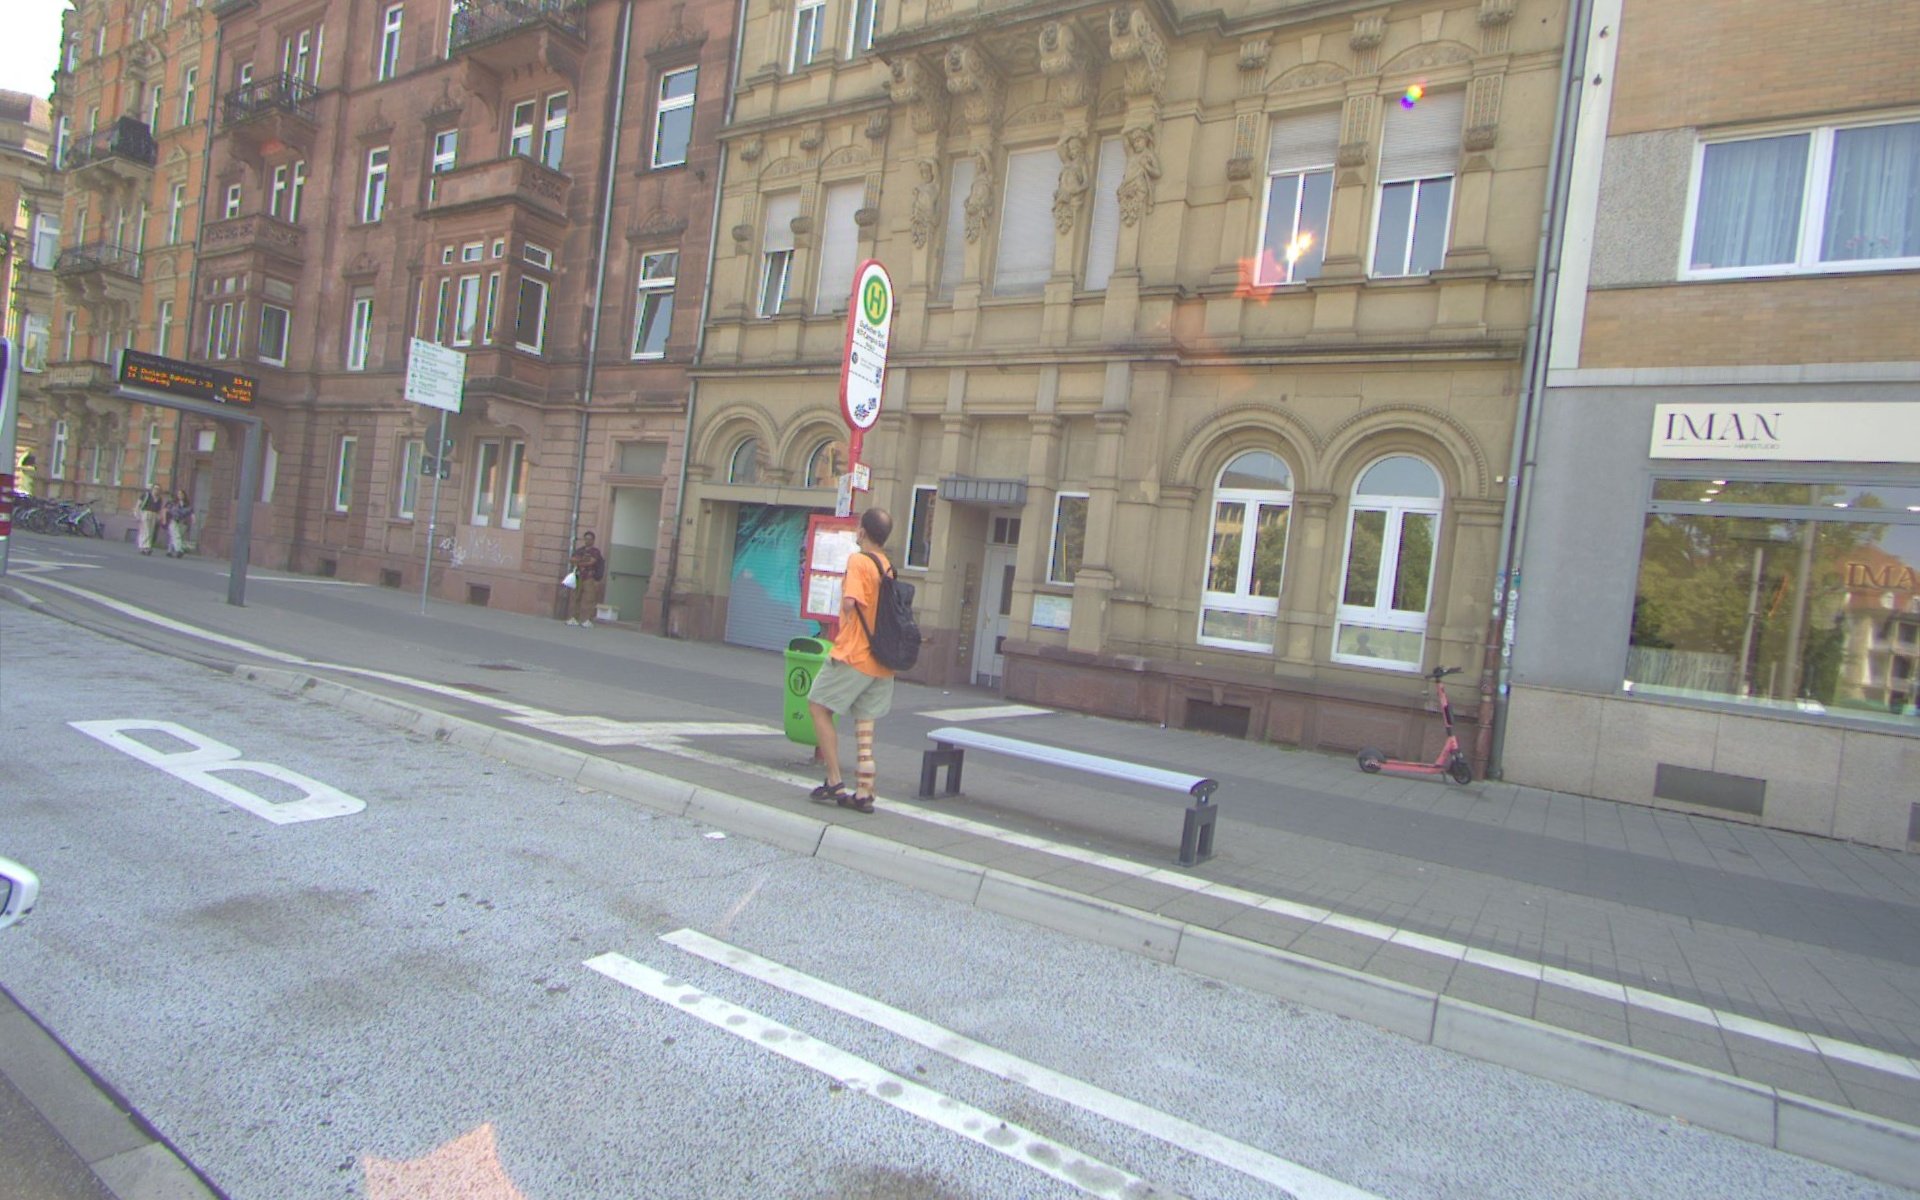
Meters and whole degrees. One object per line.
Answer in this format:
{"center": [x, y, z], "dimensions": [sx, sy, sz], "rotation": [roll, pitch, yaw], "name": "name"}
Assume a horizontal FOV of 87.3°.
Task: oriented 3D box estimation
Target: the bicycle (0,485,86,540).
{"center": [-28.656, -2.725, 30.545], "dimensions": [0.857, 1.388, 2.997], "rotation": [7, 0, 31], "name": "bicycle"}

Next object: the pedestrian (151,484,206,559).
{"center": [-20.187, -2.025, 25.980], "dimensions": [0.856, 1.800, 0.715], "rotation": [7, 1, 30], "name": "pedestrian"}

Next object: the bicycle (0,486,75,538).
{"center": [-29.431, -2.803, 31.057], "dimensions": [0.857, 1.388, 2.997], "rotation": [7, 0, 31], "name": "bicycle"}

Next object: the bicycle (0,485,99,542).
{"center": [-27.879, -2.632, 30.105], "dimensions": [0.857, 1.388, 2.997], "rotation": [7, 0, 31], "name": "bicycle"}

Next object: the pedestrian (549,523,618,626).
{"center": [-7.033, -0.455, 18.816], "dimensions": [0.729, 1.800, 0.870], "rotation": [7, 1, 4], "name": "pedestrian"}

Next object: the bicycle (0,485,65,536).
{"center": [-30.212, -2.918, 31.547], "dimensions": [0.932, 1.390, 3.007], "rotation": [7, 0, 31], "name": "bicycle"}

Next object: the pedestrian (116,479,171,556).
{"center": [-20.602, -2.071, 25.382], "dimensions": [0.833, 1.798, 0.715], "rotation": [7, 1, 31], "name": "pedestrian"}

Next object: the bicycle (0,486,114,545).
{"center": [-27.080, -2.519, 29.715], "dimensions": [0.857, 1.388, 2.997], "rotation": [7, 0, 31], "name": "bicycle"}

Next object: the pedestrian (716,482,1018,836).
{"center": [-0.532, 0.294, 5.790], "dimensions": [1.220, 1.762, 0.964], "rotation": [7, 0, 37], "name": "pedestrian"}

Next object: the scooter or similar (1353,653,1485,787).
{"center": [4.883, 1.252, 10.715], "dimensions": [1.122, 1.228, 0.476], "rotation": [7, 1, 27], "name": "scooter or similar"}

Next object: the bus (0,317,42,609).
{"center": [-16.107, -2.076, 12.682], "dimensions": [11.746, 3.149, 2.746], "rotation": [6, 3, 27], "name": "bus"}
